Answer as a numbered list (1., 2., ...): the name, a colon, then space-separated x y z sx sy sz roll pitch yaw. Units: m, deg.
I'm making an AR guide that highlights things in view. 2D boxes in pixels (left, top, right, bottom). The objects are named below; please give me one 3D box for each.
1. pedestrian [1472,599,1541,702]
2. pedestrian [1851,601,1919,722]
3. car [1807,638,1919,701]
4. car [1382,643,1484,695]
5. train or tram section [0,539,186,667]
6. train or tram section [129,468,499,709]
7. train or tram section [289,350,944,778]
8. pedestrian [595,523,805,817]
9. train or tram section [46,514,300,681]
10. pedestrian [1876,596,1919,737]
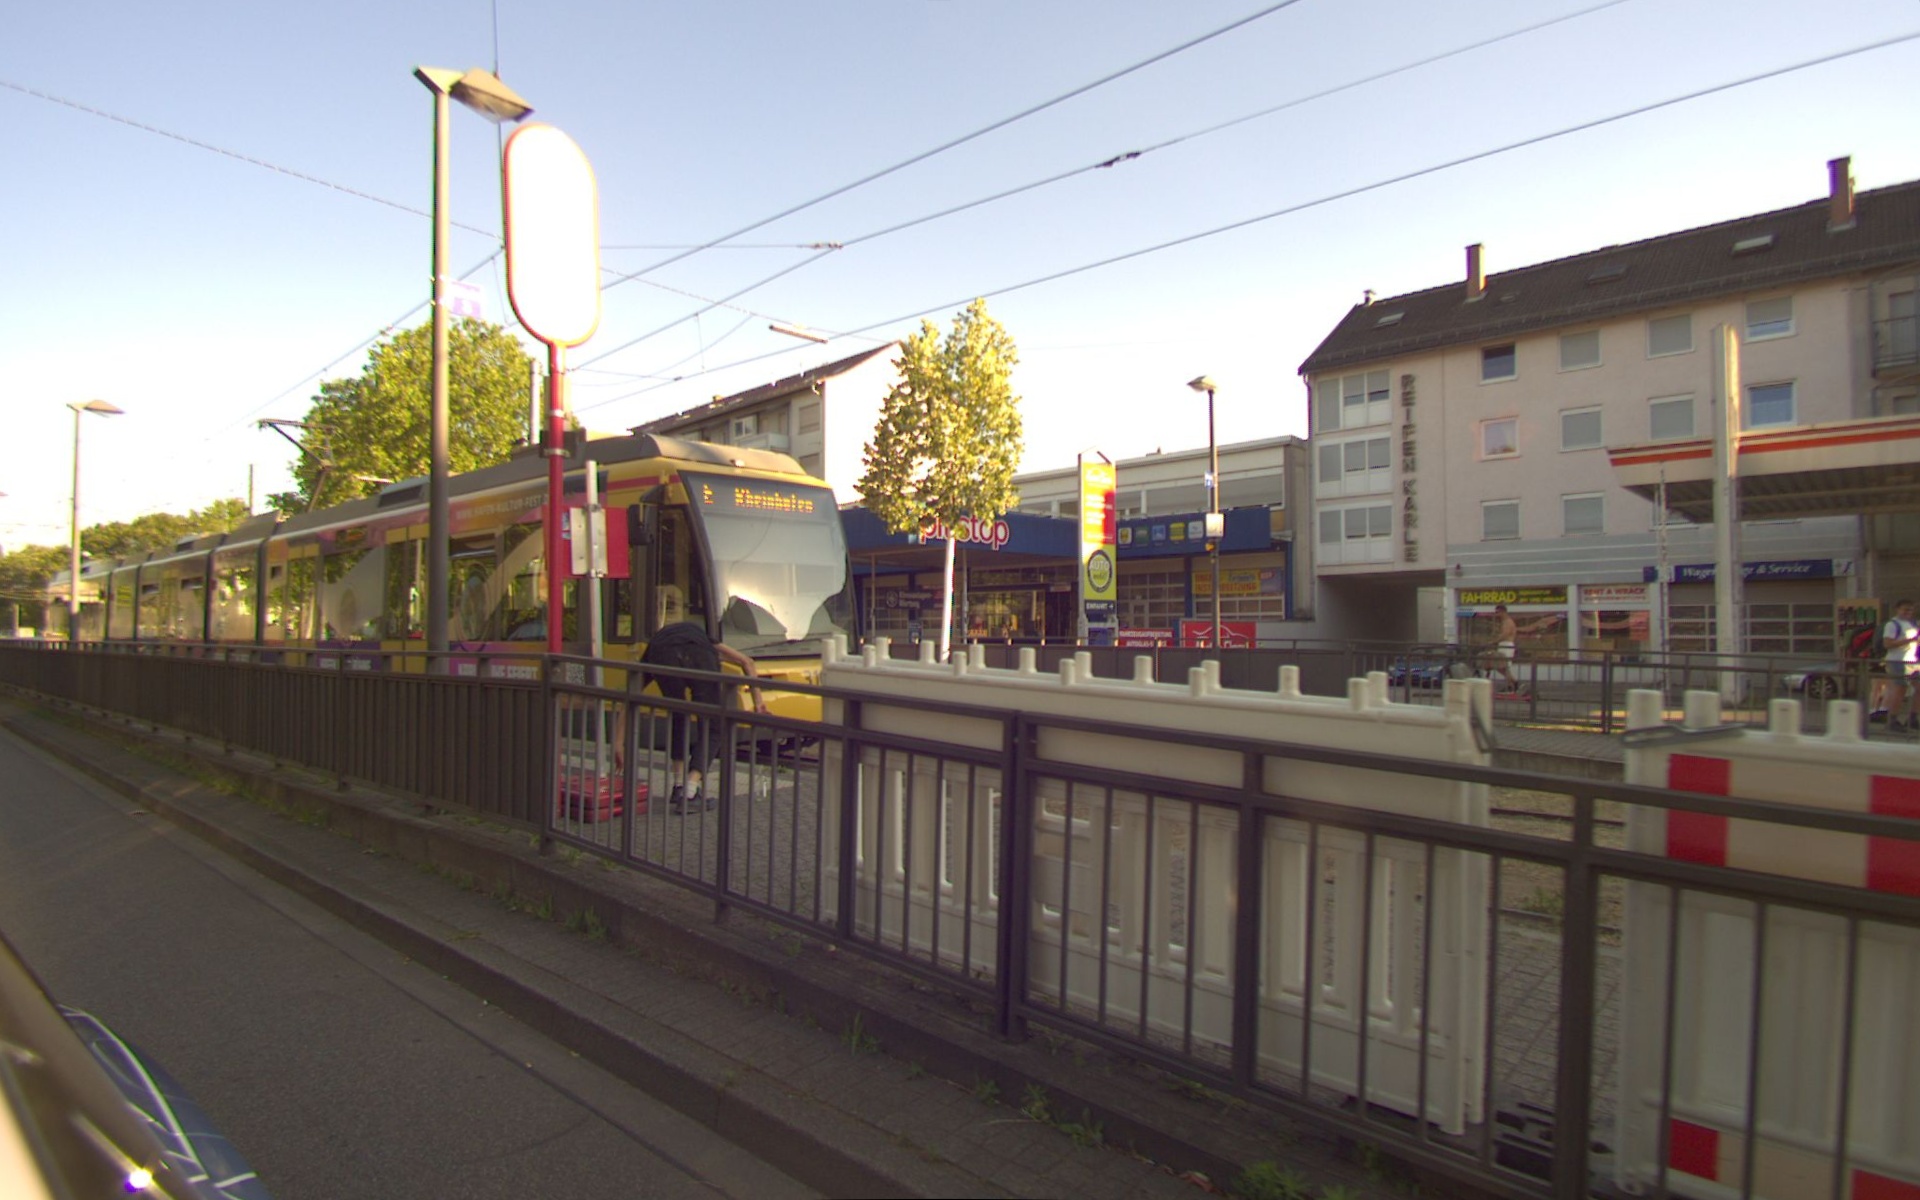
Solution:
1. pedestrian: 10.476 0.958 19.408 1.000 1.896 0.745 -2 0 40
2. pedestrian: 14.054 0.914 15.233 0.859 1.760 0.746 -2 -3 38
3. car: 24.127 1.740 25.787 3.827 1.535 1.793 -2 -3 42
4. car: 15.204 2.164 32.446 1.818 1.535 3.752 -2 -3 44
5. train or tram section: -28.062 0.202 32.420 10.089 3.544 3.004 -1 -3 40
6. train or tram section: -12.685 -0.052 19.303 10.089 3.544 3.004 -1 -3 40
7. train or tram section: -4.998 -0.184 12.777 10.089 3.544 3.004 -1 -3 40
8. pedestrian: -1.522 0.379 5.992 0.787 1.562 0.908 -1 -1 33
9. train or tram section: -20.374 0.073 25.867 10.089 3.544 3.004 -1 -3 40
10. pedestrian: 13.537 0.931 14.313 0.754 1.947 0.849 -2 -3 39
